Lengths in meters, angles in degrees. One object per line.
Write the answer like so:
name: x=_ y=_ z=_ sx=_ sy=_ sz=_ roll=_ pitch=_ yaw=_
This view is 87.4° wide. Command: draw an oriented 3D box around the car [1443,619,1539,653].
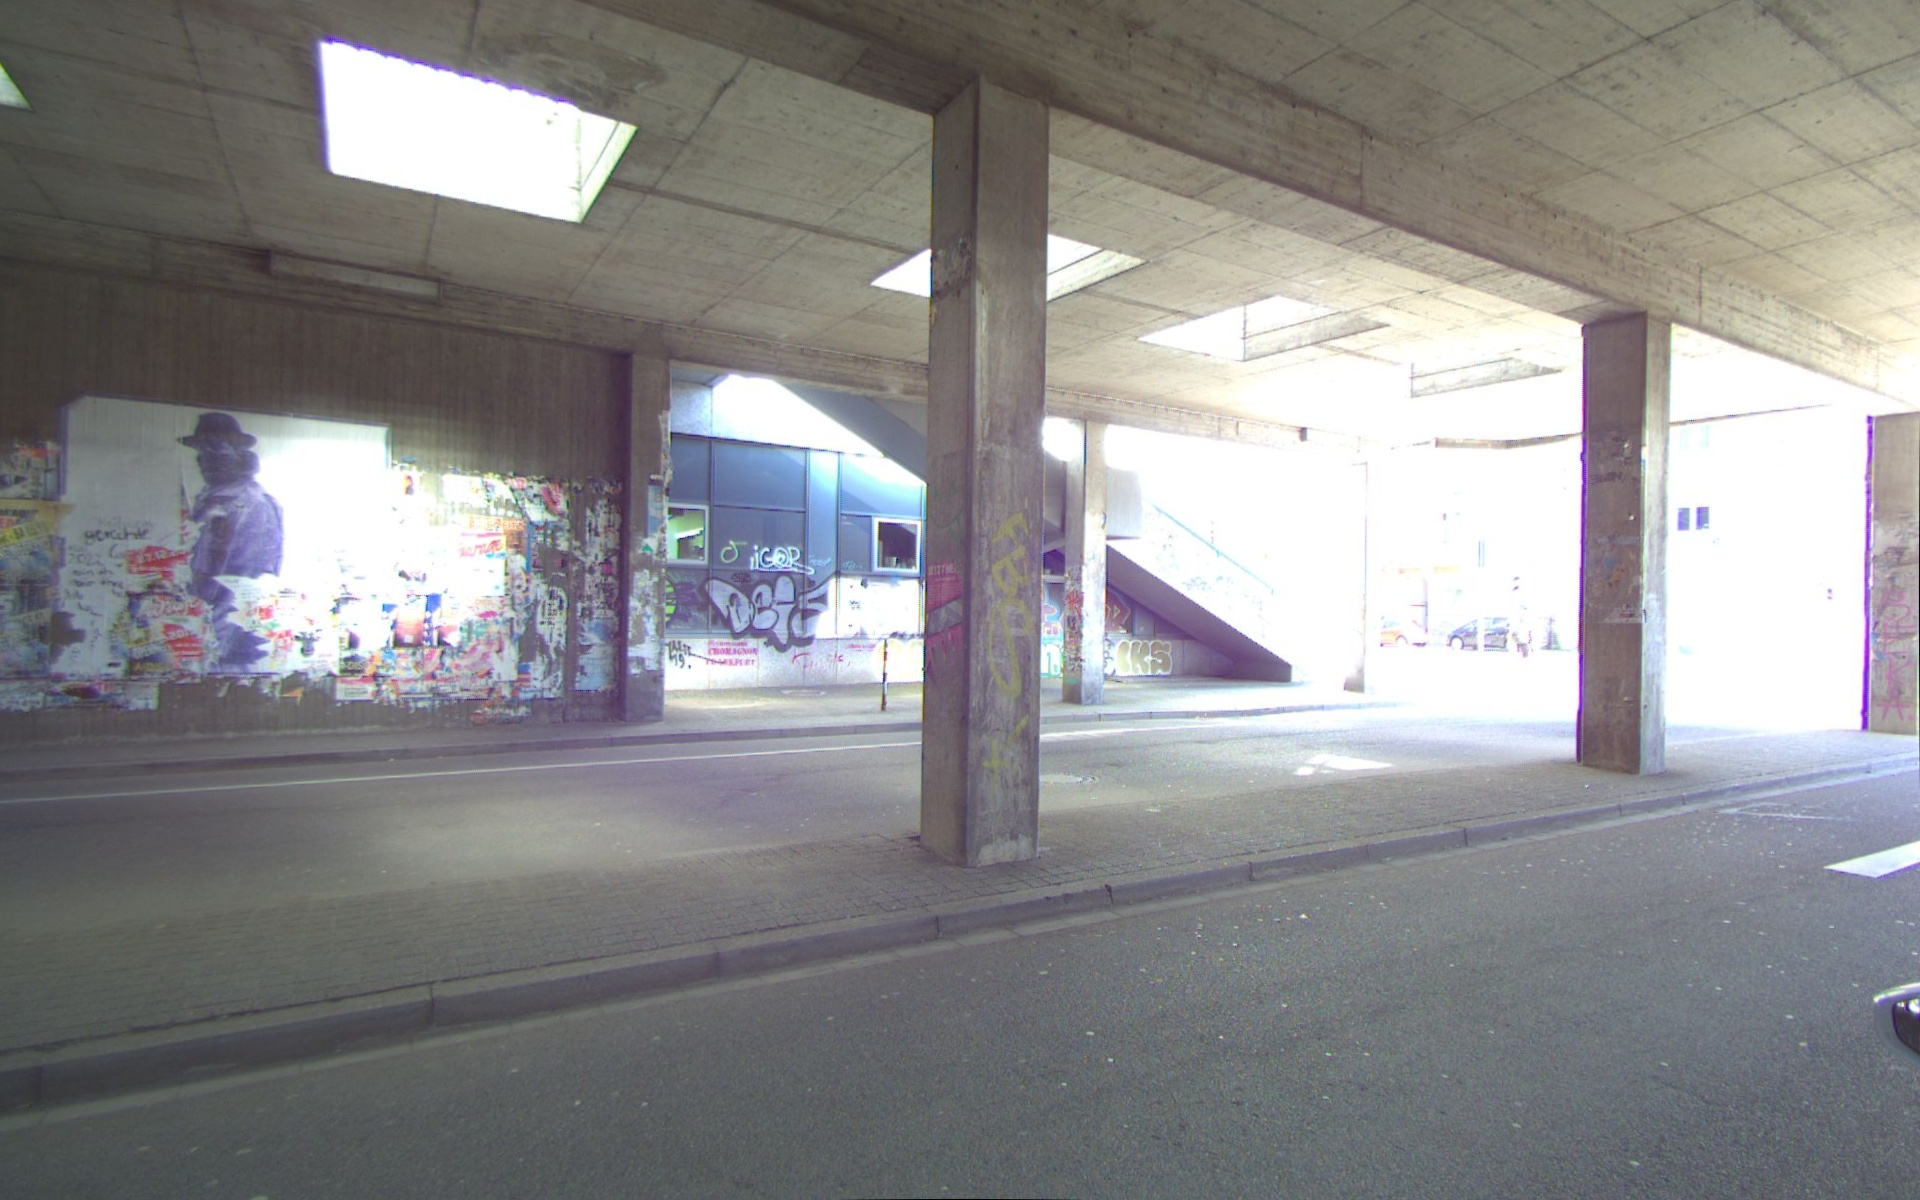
car: x=25.291 y=1.695 z=47.928 sx=1.732 sy=1.528 sz=3.735 roll=1 pitch=-1 yaw=-31

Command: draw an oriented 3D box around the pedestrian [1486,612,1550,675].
pedestrian: x=15.779 y=1.218 z=28.407 sx=1.123 sy=1.760 sz=1.111 roll=1 pitch=-1 yaw=-17

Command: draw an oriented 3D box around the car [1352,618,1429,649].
car: x=22.429 y=1.747 z=52.486 sx=1.543 sy=1.526 sz=3.518 roll=1 pitch=-1 yaw=-29

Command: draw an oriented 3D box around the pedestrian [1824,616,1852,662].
pedestrian: x=33.348 y=1.476 z=38.152 sx=0.620 sy=1.727 sz=0.714 roll=2 pitch=0 yaw=-44
